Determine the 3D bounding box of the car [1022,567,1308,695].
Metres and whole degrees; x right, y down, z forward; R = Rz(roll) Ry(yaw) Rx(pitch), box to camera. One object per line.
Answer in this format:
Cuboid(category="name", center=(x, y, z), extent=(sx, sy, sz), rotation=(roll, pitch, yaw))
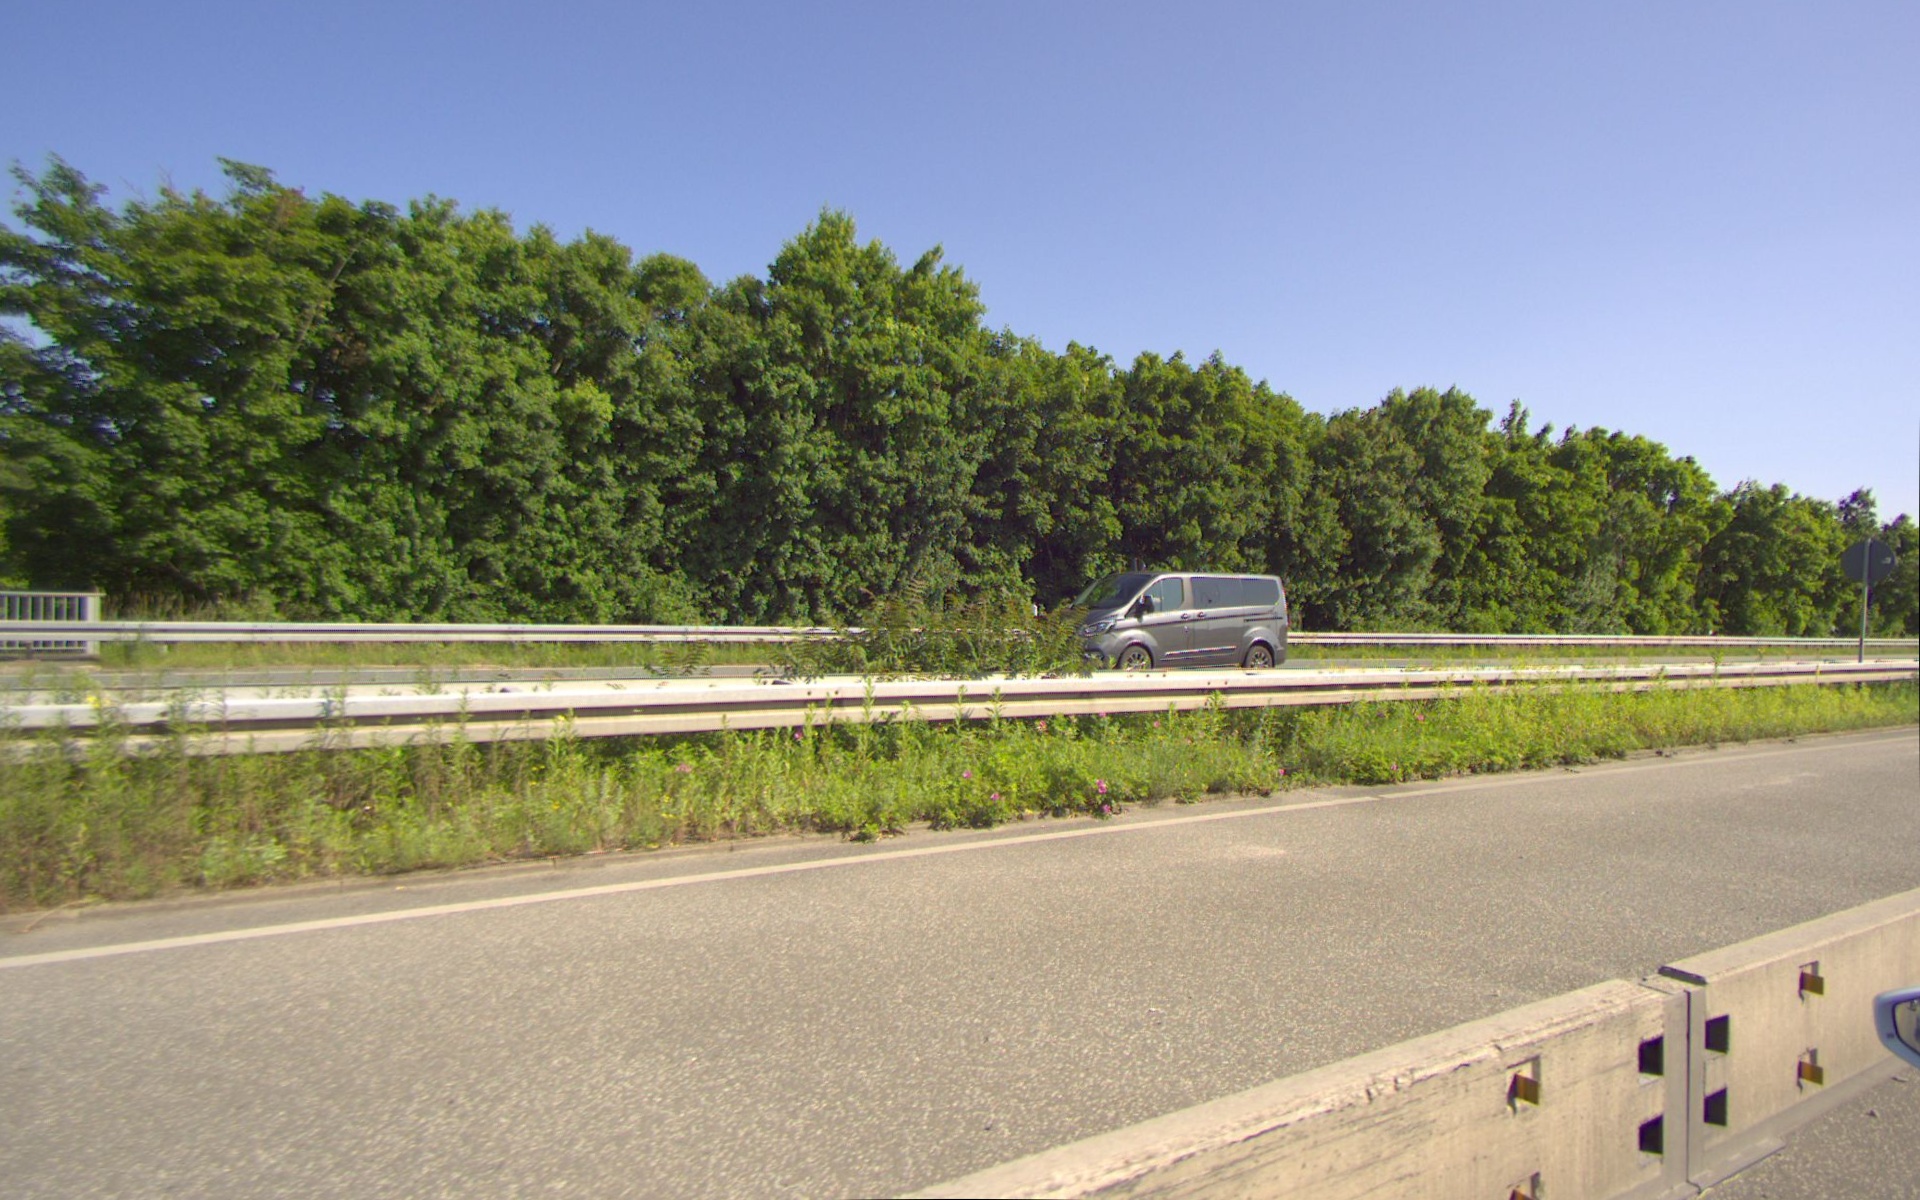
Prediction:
Cuboid(category="car", center=(3.812, 0.549, 18.394), extent=(5.107, 2.061, 1.984), rotation=(1, 0, -30))
